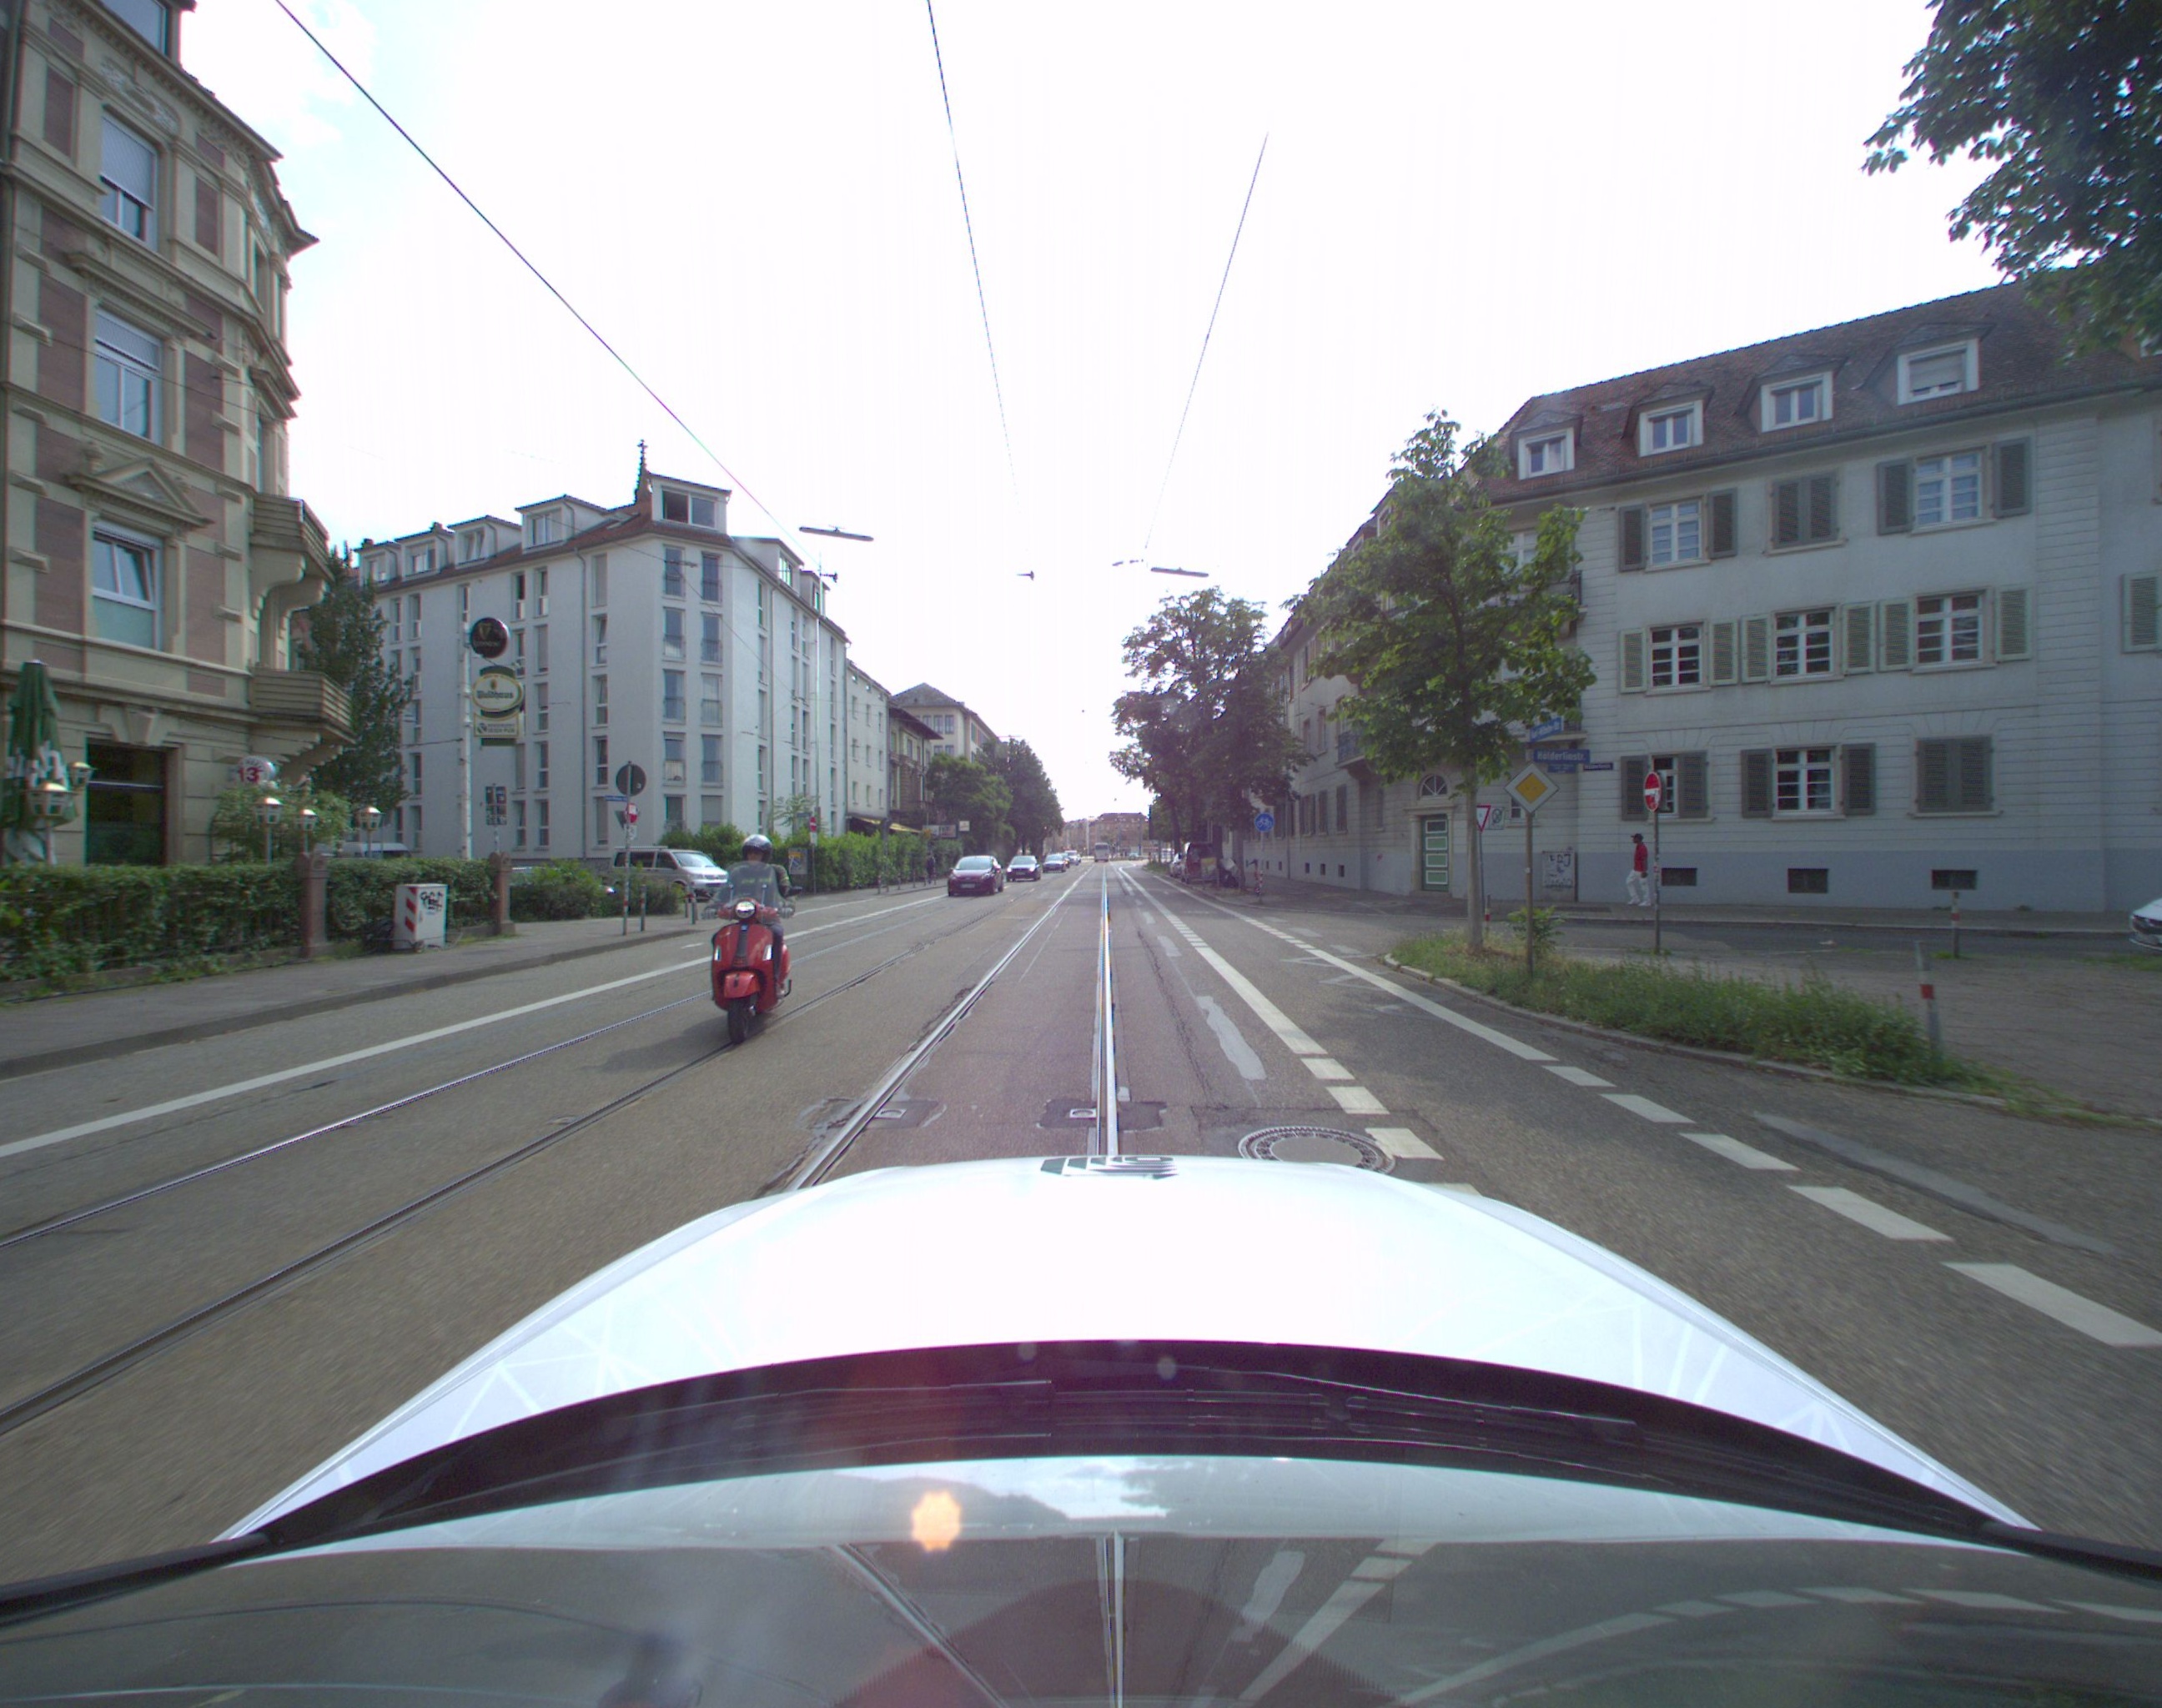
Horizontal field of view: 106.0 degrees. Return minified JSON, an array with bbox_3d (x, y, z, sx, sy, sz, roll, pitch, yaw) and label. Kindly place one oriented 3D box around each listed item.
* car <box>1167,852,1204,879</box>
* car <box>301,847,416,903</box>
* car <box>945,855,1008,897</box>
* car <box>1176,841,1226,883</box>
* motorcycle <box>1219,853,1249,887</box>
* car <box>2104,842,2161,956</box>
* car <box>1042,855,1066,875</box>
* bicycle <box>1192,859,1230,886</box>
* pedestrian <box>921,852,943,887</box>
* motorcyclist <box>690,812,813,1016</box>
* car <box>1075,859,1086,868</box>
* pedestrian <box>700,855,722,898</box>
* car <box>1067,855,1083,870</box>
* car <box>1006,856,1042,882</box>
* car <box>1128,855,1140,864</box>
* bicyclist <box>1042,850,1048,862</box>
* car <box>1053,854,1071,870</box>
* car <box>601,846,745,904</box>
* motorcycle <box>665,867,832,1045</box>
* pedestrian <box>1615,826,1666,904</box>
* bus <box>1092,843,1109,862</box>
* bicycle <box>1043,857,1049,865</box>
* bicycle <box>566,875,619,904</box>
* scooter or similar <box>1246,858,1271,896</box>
[{"bbox_3d":[6.207,0.674,48.827,1.700,1.498,4.790,-1,0,1],"label":"car"},{"bbox_3d":[-34.131,0.961,38.427,5.603,2.508,2.156,-1,0,27],"label":"car"},{"bbox_3d":[-3.879,0.778,30.851,1.588,1.440,3.939,-2,0,3],"label":"car"},{"bbox_3d":[5.900,0.369,40.588,1.888,1.941,4.952,-1,0,1],"label":"car"},{"bbox_3d":[6.163,0.641,32.912,0.854,1.321,2.446,-1,0,2],"label":"motorcycle"},{"bbox_3d":[16.506,0.604,10.599,3.574,1.498,1.742,-1,2,28],"label":"car"},{"bbox_3d":[-2.214,0.876,67.763,1.721,1.540,4.277,-2,0,1],"label":"car"},{"bbox_3d":[5.833,0.834,36.687,1.605,1.203,0.589,-1,0,-2],"label":"bicycle"},{"bbox_3d":[-8.295,0.841,45.375,1.056,1.917,0.829,-1,0,0],"label":"pedestrian"},{"bbox_3d":[-2.936,0.506,7.345,0.737,1.714,0.920,-1,0,-3],"label":"motorcyclist"},{"bbox_3d":[0.004,1.535,133.318,1.682,1.402,3.931,-2,0,1],"label":"car"},{"bbox_3d":[-14.867,0.900,32.700,0.480,1.698,0.785,-1,0,2],"label":"pedestrian"},{"bbox_3d":[-0.730,1.043,105.078,1.891,1.907,5.384,-1,0,0],"label":"car"},{"bbox_3d":[-3.133,0.803,45.540,1.622,1.407,4.131,0,0,2],"label":"car"},{"bbox_3d":[10.627,1.064,163.022,2.118,1.684,4.112,1,1,8],"label":"car"},{"bbox_3d":[-4.928,0.259,112.639,0.596,1.492,0.883,-6,0,4],"label":"bicyclist"},{"bbox_3d":[-1.961,0.821,86.314,1.625,1.556,3.823,-1,0,2],"label":"car"},{"bbox_3d":[-15.093,0.786,30.143,4.886,2.013,2.061,-1,0,23],"label":"car"},{"bbox_3d":[-2.938,0.821,7.463,0.737,1.360,2.086,-1,0,-2],"label":"motorcycle"},{"bbox_3d":[14.210,0.278,20.712,0.965,1.937,0.907,0,-1,28],"label":"pedestrian"},{"bbox_3d":[3.523,-0.138,147.937,2.907,3.328,12.207,0,-1,1],"label":"bus"},{"bbox_3d":[-4.847,0.944,112.741,0.600,1.097,2.025,-6,0,4],"label":"bicycle"},{"bbox_3d":[-18.950,1.376,31.600,2.007,1.066,0.789,-1,0,26],"label":"bicycle"},{"bbox_3d":[6.135,0.780,28.179,0.530,1.251,1.721,-2,0,2],"label":"scooter or similar"}]
